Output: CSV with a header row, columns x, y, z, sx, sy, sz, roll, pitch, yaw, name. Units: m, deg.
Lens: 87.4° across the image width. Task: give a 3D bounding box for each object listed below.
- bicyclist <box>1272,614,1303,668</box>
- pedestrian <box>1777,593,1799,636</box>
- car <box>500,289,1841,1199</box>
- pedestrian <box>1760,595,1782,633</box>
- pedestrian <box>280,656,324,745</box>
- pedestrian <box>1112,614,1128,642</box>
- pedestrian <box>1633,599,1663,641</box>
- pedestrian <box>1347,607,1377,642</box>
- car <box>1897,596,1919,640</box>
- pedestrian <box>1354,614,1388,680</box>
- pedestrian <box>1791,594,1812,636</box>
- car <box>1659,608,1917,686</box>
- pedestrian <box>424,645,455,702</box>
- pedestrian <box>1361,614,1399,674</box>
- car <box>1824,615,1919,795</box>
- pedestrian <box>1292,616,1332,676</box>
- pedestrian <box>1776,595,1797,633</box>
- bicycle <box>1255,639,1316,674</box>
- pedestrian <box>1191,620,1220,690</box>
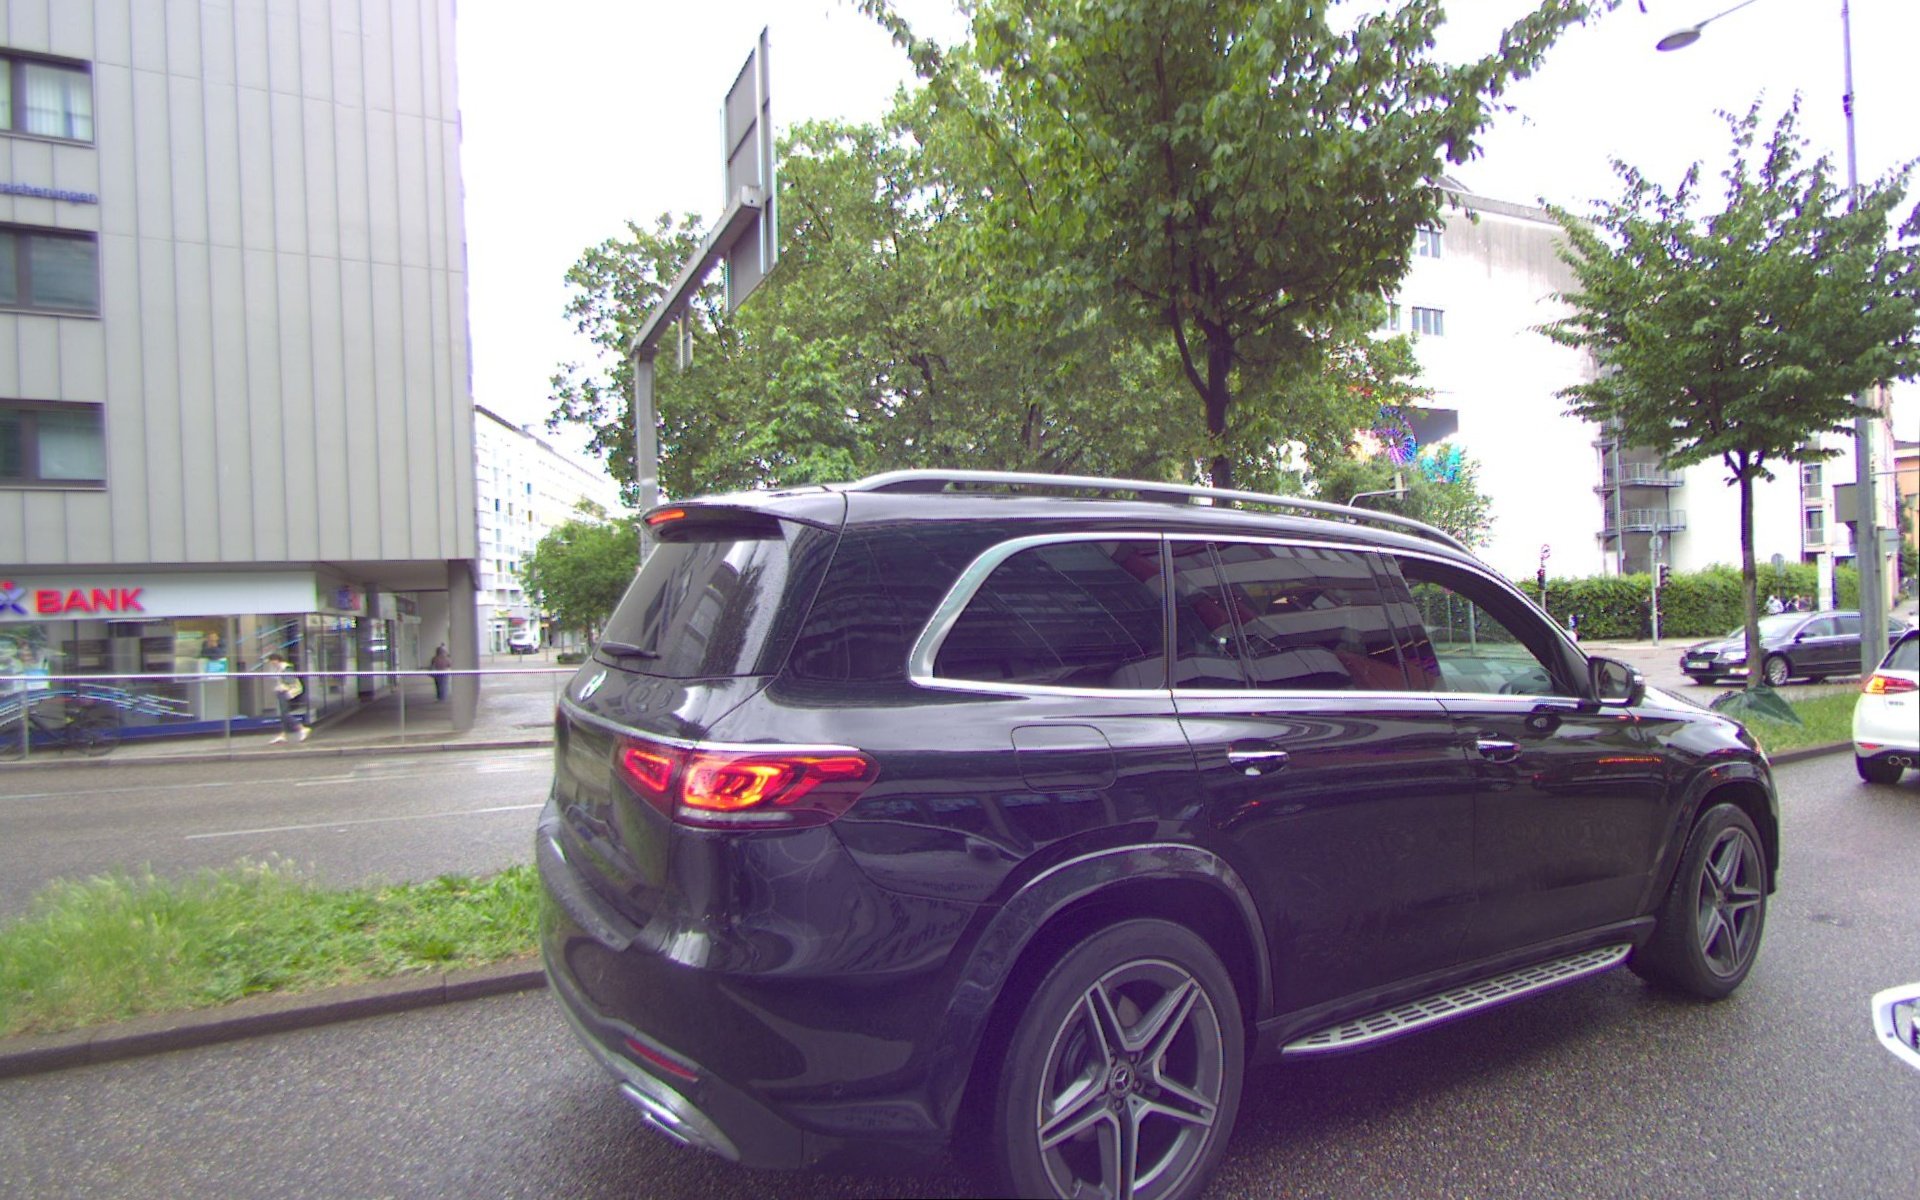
x,y,z,sx,sy,sz,roll,pitch,yaw,name
9.679,1.217,29.698,0.602,1.550,0.629,2,-3,-30,bicyclist
34.694,0.623,42.107,0.741,1.771,0.535,2,-1,-38,pedestrian
1.132,0.516,3.808,5.016,1.895,1.901,3,-1,-31,car
35.435,0.607,43.891,0.522,1.620,0.576,2,-1,-36,pedestrian
-12.929,1.944,19.731,0.630,1.659,0.782,2,-1,-37,pedestrian
10.006,1.756,63.002,0.723,1.664,0.635,2,-1,-23,pedestrian
27.938,0.814,40.778,0.721,1.664,0.638,2,0,-12,pedestrian
18.868,1.149,47.165,0.677,1.599,1.055,2,-1,-34,pedestrian
34.870,0.614,35.646,3.571,1.506,1.565,0,1,-33,car
10.797,1.227,26.398,0.572,1.684,0.554,-2,0,-30,pedestrian
36.017,0.634,43.010,0.559,1.771,0.535,2,-1,-35,pedestrian
17.327,0.929,21.078,4.654,1.506,1.634,0,1,-12,car
-16.164,2.275,31.196,0.719,1.719,0.782,2,-3,-37,pedestrian
12.014,1.239,28.718,0.620,1.684,0.749,-2,0,-30,pedestrian
9.543,0.873,8.953,3.799,1.448,1.768,0,0,-32,car
10.935,1.422,31.212,0.698,1.807,0.922,2,-1,-19,pedestrian
36.474,0.621,44.317,0.522,1.620,0.576,2,-1,-36,pedestrian
9.624,1.659,29.656,1.918,1.013,0.612,2,-3,-31,bicycle
6.065,1.341,24.811,0.568,1.684,0.559,-1,0,2,pedestrian
